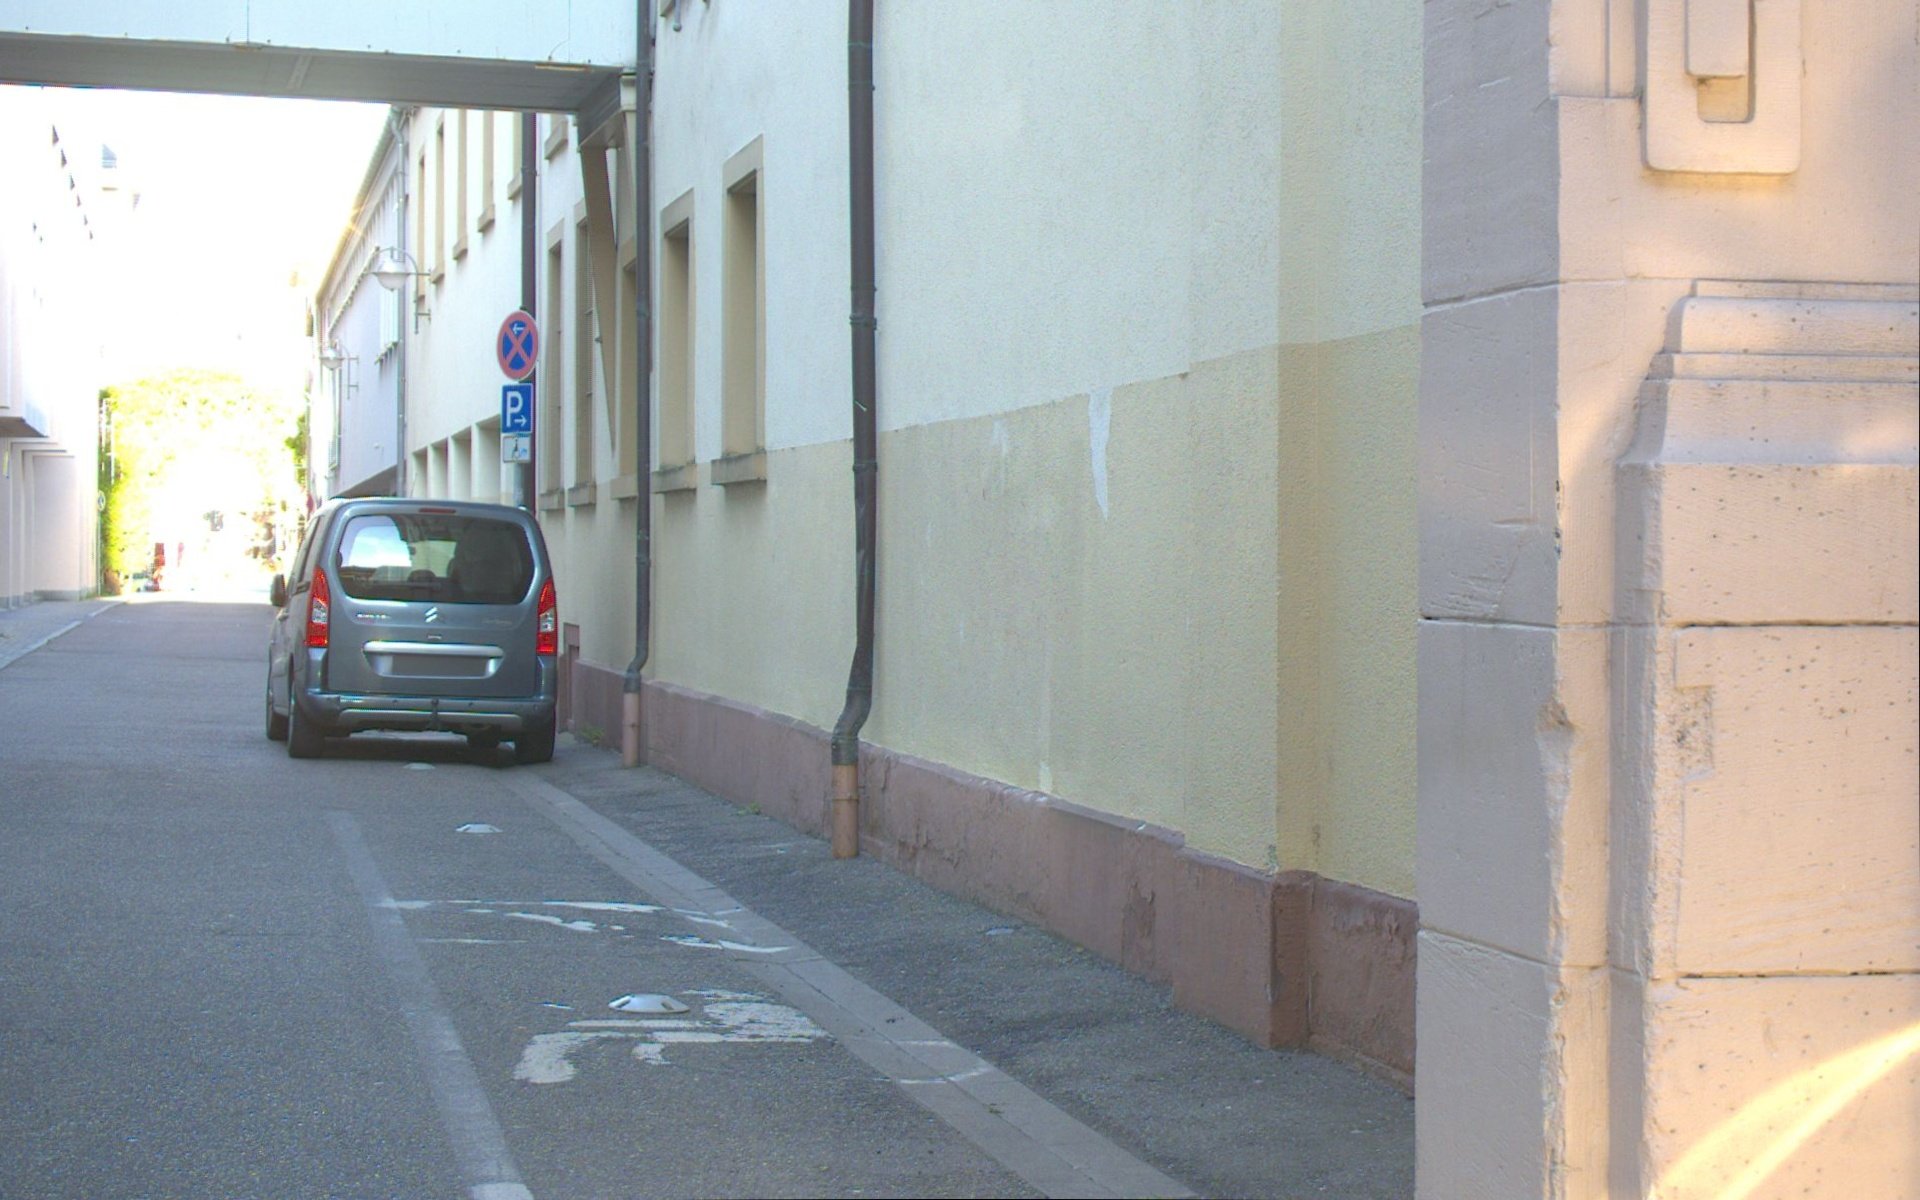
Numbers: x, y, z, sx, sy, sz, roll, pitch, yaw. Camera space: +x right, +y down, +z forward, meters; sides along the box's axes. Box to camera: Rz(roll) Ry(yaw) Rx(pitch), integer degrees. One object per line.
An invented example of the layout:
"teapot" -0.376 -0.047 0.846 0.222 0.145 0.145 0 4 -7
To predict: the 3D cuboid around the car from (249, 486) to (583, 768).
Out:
"car" -3.989 0.155 24.675 1.854 1.750 4.163 4 0 -15
